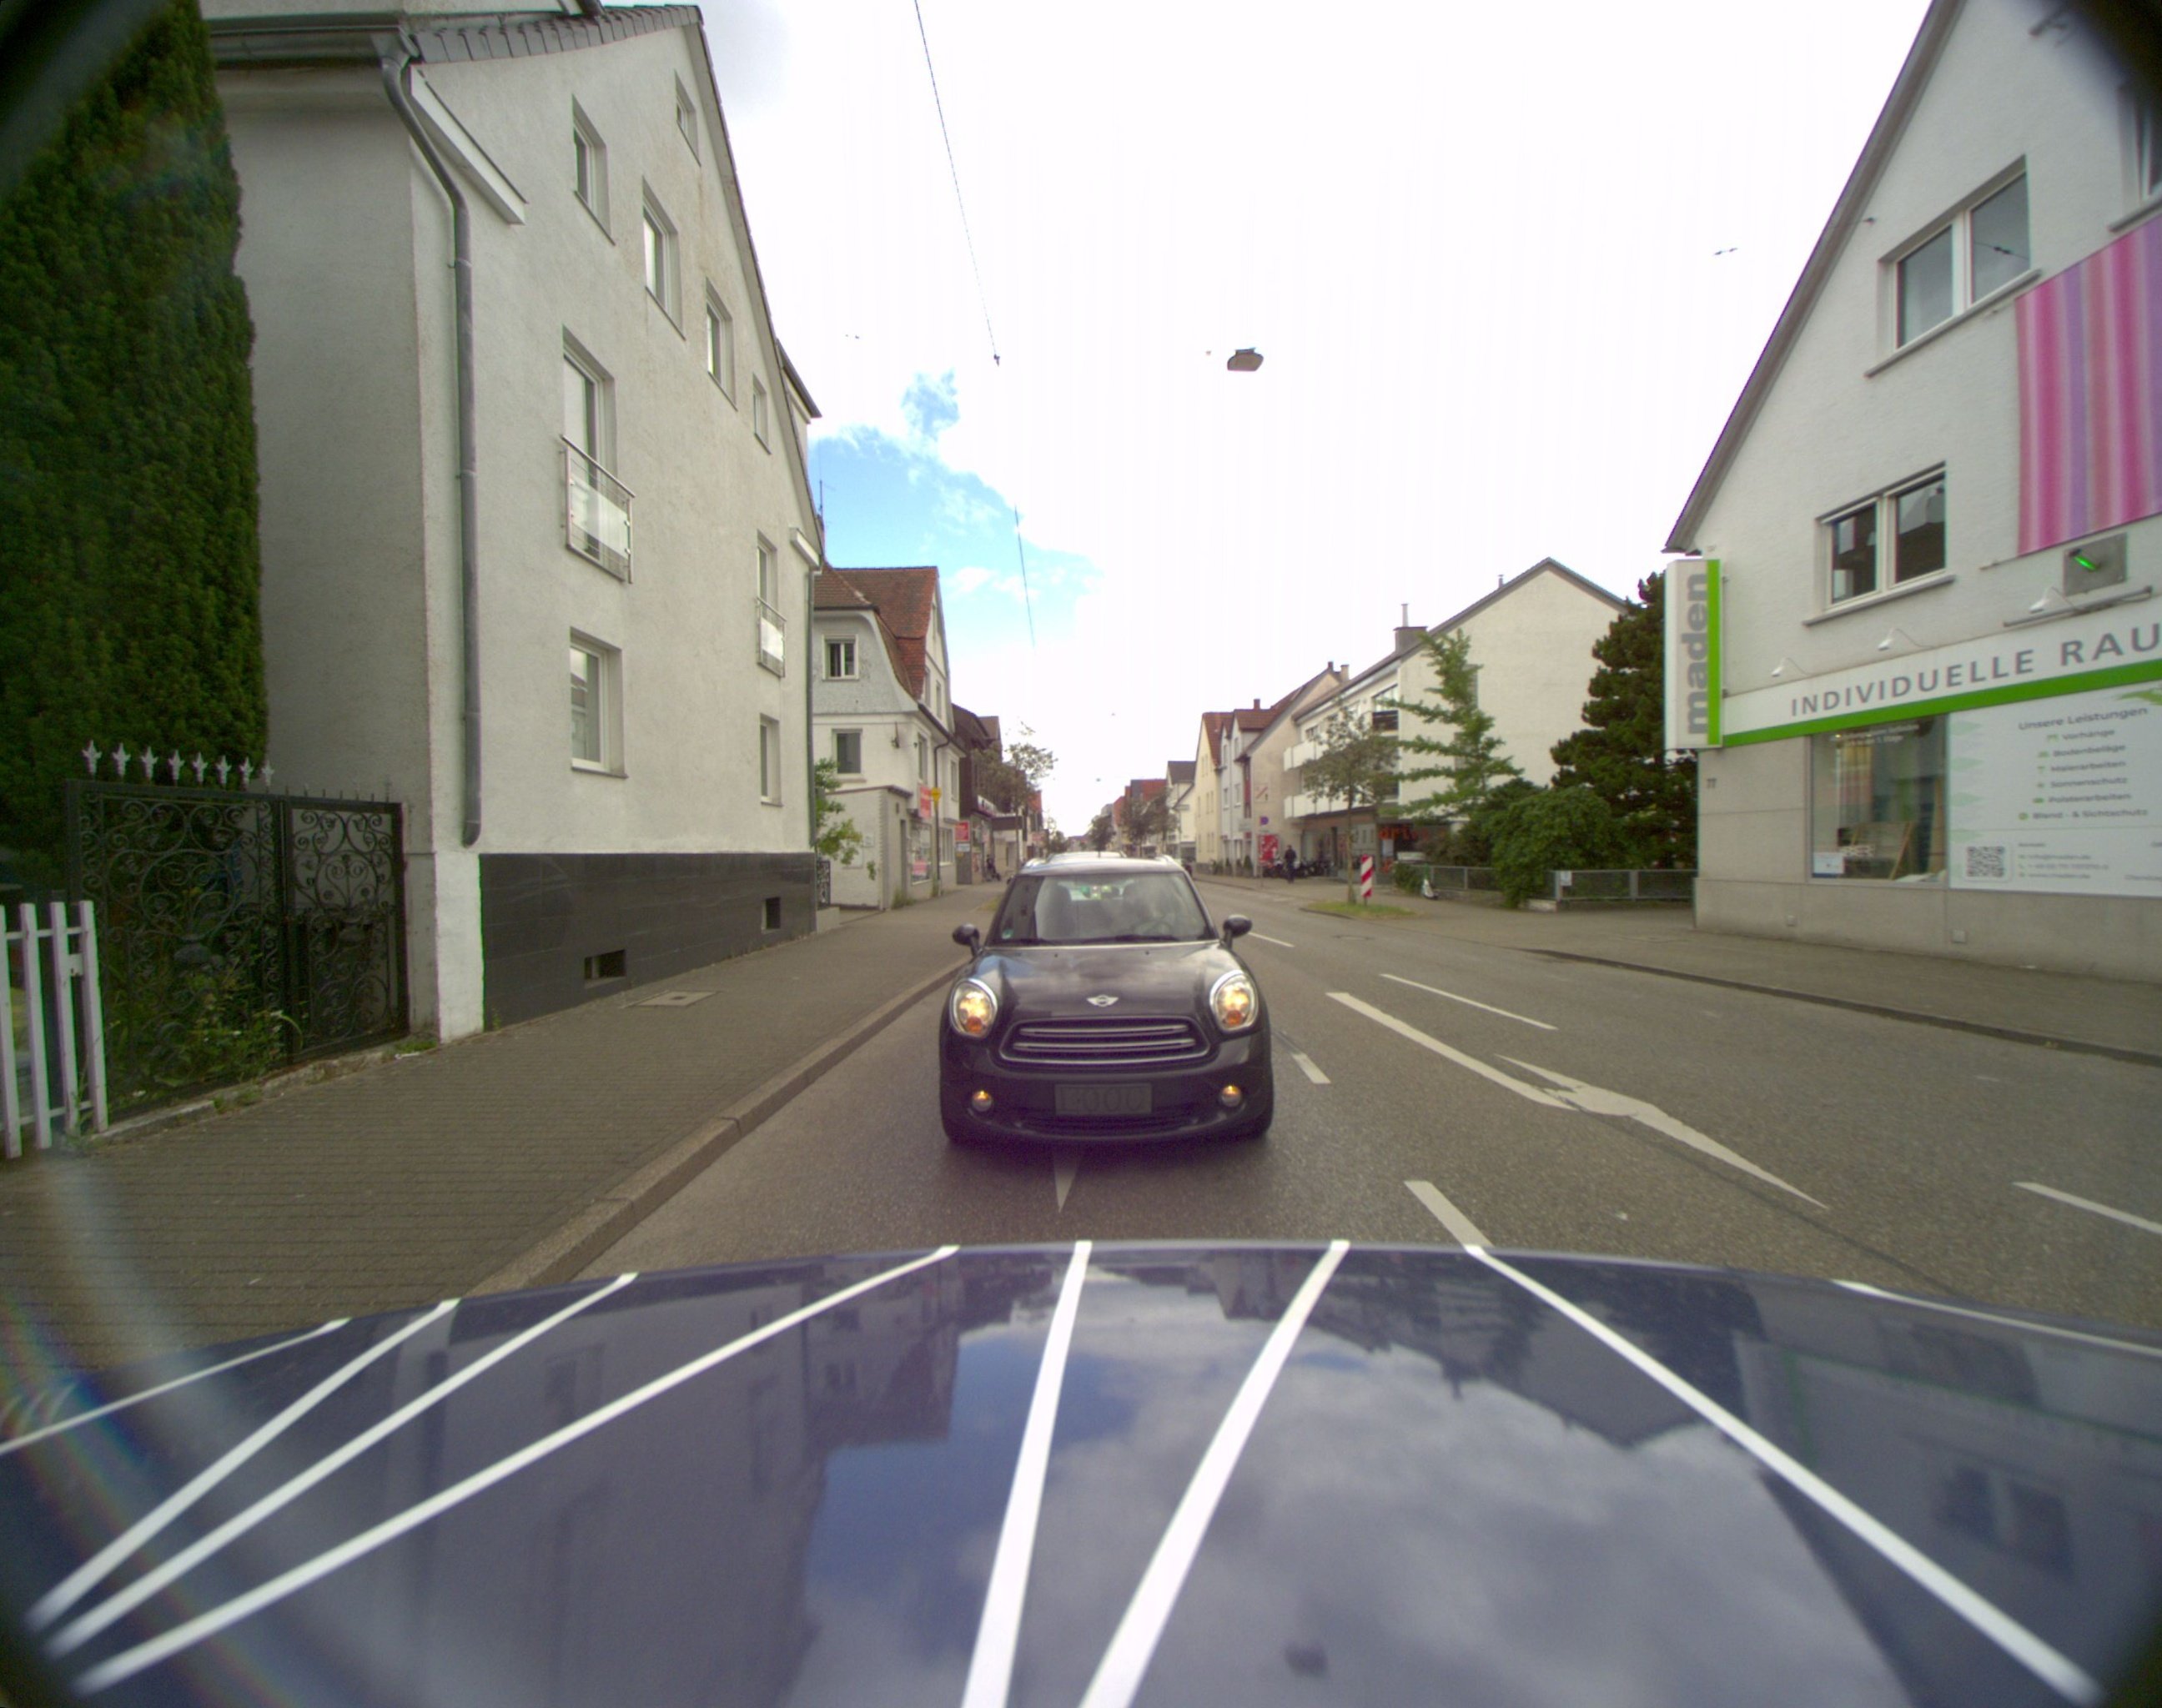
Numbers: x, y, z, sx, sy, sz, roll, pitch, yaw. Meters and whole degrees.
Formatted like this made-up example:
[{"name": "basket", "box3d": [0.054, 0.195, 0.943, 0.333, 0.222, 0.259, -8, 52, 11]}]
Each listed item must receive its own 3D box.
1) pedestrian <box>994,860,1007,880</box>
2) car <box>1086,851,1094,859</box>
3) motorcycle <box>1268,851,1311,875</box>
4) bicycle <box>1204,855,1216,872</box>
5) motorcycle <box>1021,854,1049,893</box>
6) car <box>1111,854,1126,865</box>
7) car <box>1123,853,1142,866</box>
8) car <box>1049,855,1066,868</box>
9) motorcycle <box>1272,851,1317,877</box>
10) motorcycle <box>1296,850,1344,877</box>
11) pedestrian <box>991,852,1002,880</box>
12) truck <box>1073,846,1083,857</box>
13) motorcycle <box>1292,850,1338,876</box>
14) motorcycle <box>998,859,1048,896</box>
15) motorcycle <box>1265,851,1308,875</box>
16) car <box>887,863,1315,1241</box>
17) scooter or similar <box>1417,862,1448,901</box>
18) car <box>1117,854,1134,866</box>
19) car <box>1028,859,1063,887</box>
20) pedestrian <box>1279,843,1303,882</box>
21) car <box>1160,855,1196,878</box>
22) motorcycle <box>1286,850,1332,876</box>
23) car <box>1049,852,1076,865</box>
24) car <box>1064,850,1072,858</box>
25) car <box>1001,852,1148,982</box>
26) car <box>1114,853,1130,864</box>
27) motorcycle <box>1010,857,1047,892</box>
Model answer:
[{"name": "pedestrian", "box3d": [-4.950, 1.004, 46.823, 0.742, 1.204, 0.644, 0, 1, -1]}, {"name": "car", "box3d": [2.134, 0.142, 183.871, 1.855, 1.932, 4.489, 1, 0, -2]}, {"name": "motorcycle", "box3d": [11.837, 0.502, 43.112, 2.231, 1.258, 0.613, -4, 1, -2]}, {"name": "bicycle", "box3d": [9.414, 0.693, 55.471, 0.515, 1.189, 2.023, -2, 1, -1]}, {"name": "motorcycle", "box3d": [-1.912, 0.782, 31.780, 0.672, 1.516, 2.599, -2, 1, 6]}, {"name": "car", "box3d": [5.265, 0.801, 107.791, 1.716, 1.389, 3.899, -2, 0, -2]}, {"name": "car", "box3d": [5.801, 0.579, 86.410, 1.716, 1.389, 3.899, -2, 0, -2]}, {"name": "car", "box3d": [-2.618, 0.848, 85.515, 1.794, 1.356, 3.948, 1, 0, 0]}, {"name": "motorcycle", "box3d": [11.855, 0.548, 42.289, 2.231, 1.258, 0.699, -4, 1, -2]}, {"name": "motorcycle", "box3d": [12.530, 0.513, 39.883, 2.231, 1.258, 0.613, -4, 1, -2]}, {"name": "pedestrian", "box3d": [-5.101, 0.722, 46.013, 0.644, 1.730, 0.742, 0, 1, -6]}, {"name": "truck", "box3d": [-0.893, -0.609, 219.277, 2.800, 3.020, 8.250, -2, 0, 0]}, {"name": "motorcycle", "box3d": [12.518, 0.496, 40.729, 2.231, 1.258, 0.613, -4, 1, -2]}, {"name": "motorcycle", "box3d": [-2.256, 0.894, 29.302, 0.777, 1.373, 2.237, -2, 1, -37]}, {"name": "motorcycle", "box3d": [11.832, 0.498, 43.829, 2.231, 1.258, 0.613, -4, 1, -2]}, {"name": "car", "box3d": [0.019, 0.897, 5.732, 1.855, 1.527, 4.735, -2, 0, -2]}, {"name": "scooter or similar", "box3d": [10.365, 0.799, 22.431, 0.340, 1.105, 1.180, -2, 1, 0]}, {"name": "car", "box3d": [5.653, 0.767, 97.069, 1.716, 1.389, 3.899, -2, 0, -2]}, {"name": "car", "box3d": [-1.980, 1.022, 43.035, 1.830, 1.400, 4.564, -2, 0, -1]}, {"name": "pedestrian", "box3d": [10.153, 0.407, 36.699, 0.753, 1.838, 1.019, -5, 1, 0]}, {"name": "car", "box3d": [6.445, 0.808, 50.950, 1.792, 1.409, 4.340, 0, 0, -1]}, {"name": "motorcycle", "box3d": [12.463, 0.492, 41.562, 2.231, 1.258, 0.613, -4, 1, -2]}, {"name": "car", "box3d": [-2.844, 0.649, 113.692, 2.004, 1.772, 3.989, -2, 1, -37]}, {"name": "car", "box3d": [-3.266, -0.066, 194.007, 2.059, 2.002, 4.186, -2, 0, -1]}, {"name": "car", "box3d": [-0.069, 0.811, 12.245, 1.855, 1.615, 4.736, -2, 0, 0]}, {"name": "car", "box3d": [5.472, 0.555, 102.145, 1.716, 1.389, 3.899, -2, 0, -2]}, {"name": "motorcycle", "box3d": [-2.254, 0.862, 32.925, 0.648, 1.432, 2.472, -2, 1, 19]}]
